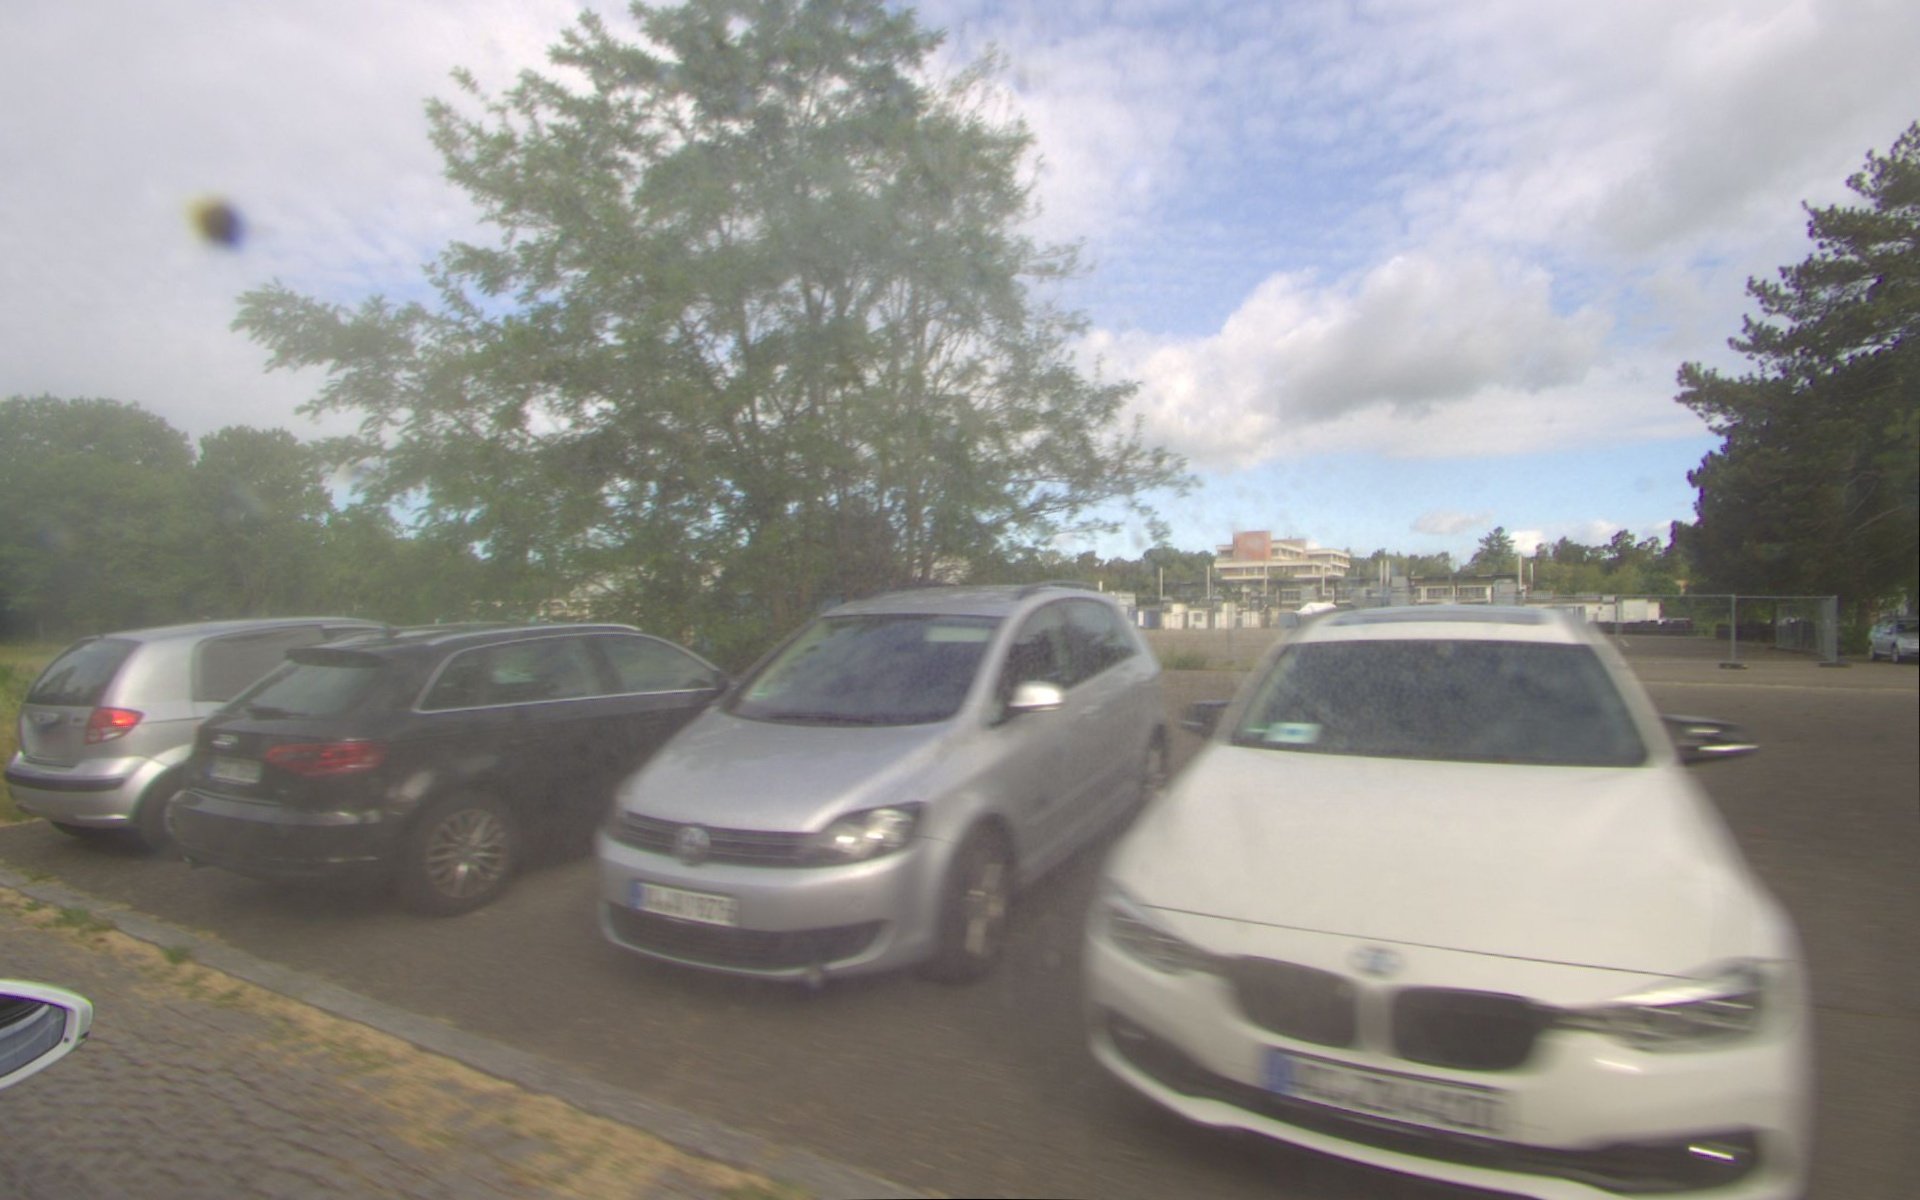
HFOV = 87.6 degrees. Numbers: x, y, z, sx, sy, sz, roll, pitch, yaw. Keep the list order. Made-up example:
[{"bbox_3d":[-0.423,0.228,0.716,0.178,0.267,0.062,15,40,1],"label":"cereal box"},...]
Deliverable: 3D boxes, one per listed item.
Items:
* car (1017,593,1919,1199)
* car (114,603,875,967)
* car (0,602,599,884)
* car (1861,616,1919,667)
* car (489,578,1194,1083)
[{"bbox_3d":[2.035,0.773,4.221,1.799,1.445,4.543,-1,1,28],"label":"car"},{"bbox_3d":[-2.546,0.813,6.673,1.769,1.425,4.358,1,2,30],"label":"car"},{"bbox_3d":[-4.942,0.834,7.858,1.716,1.500,3.766,0,2,29],"label":"car"},{"bbox_3d":[29.659,1.250,30.824,1.835,1.493,4.136,0,-1,27],"label":"car"},{"bbox_3d":[-0.111,0.727,5.580,1.798,1.596,4.325,-1,1,26],"label":"car"}]
